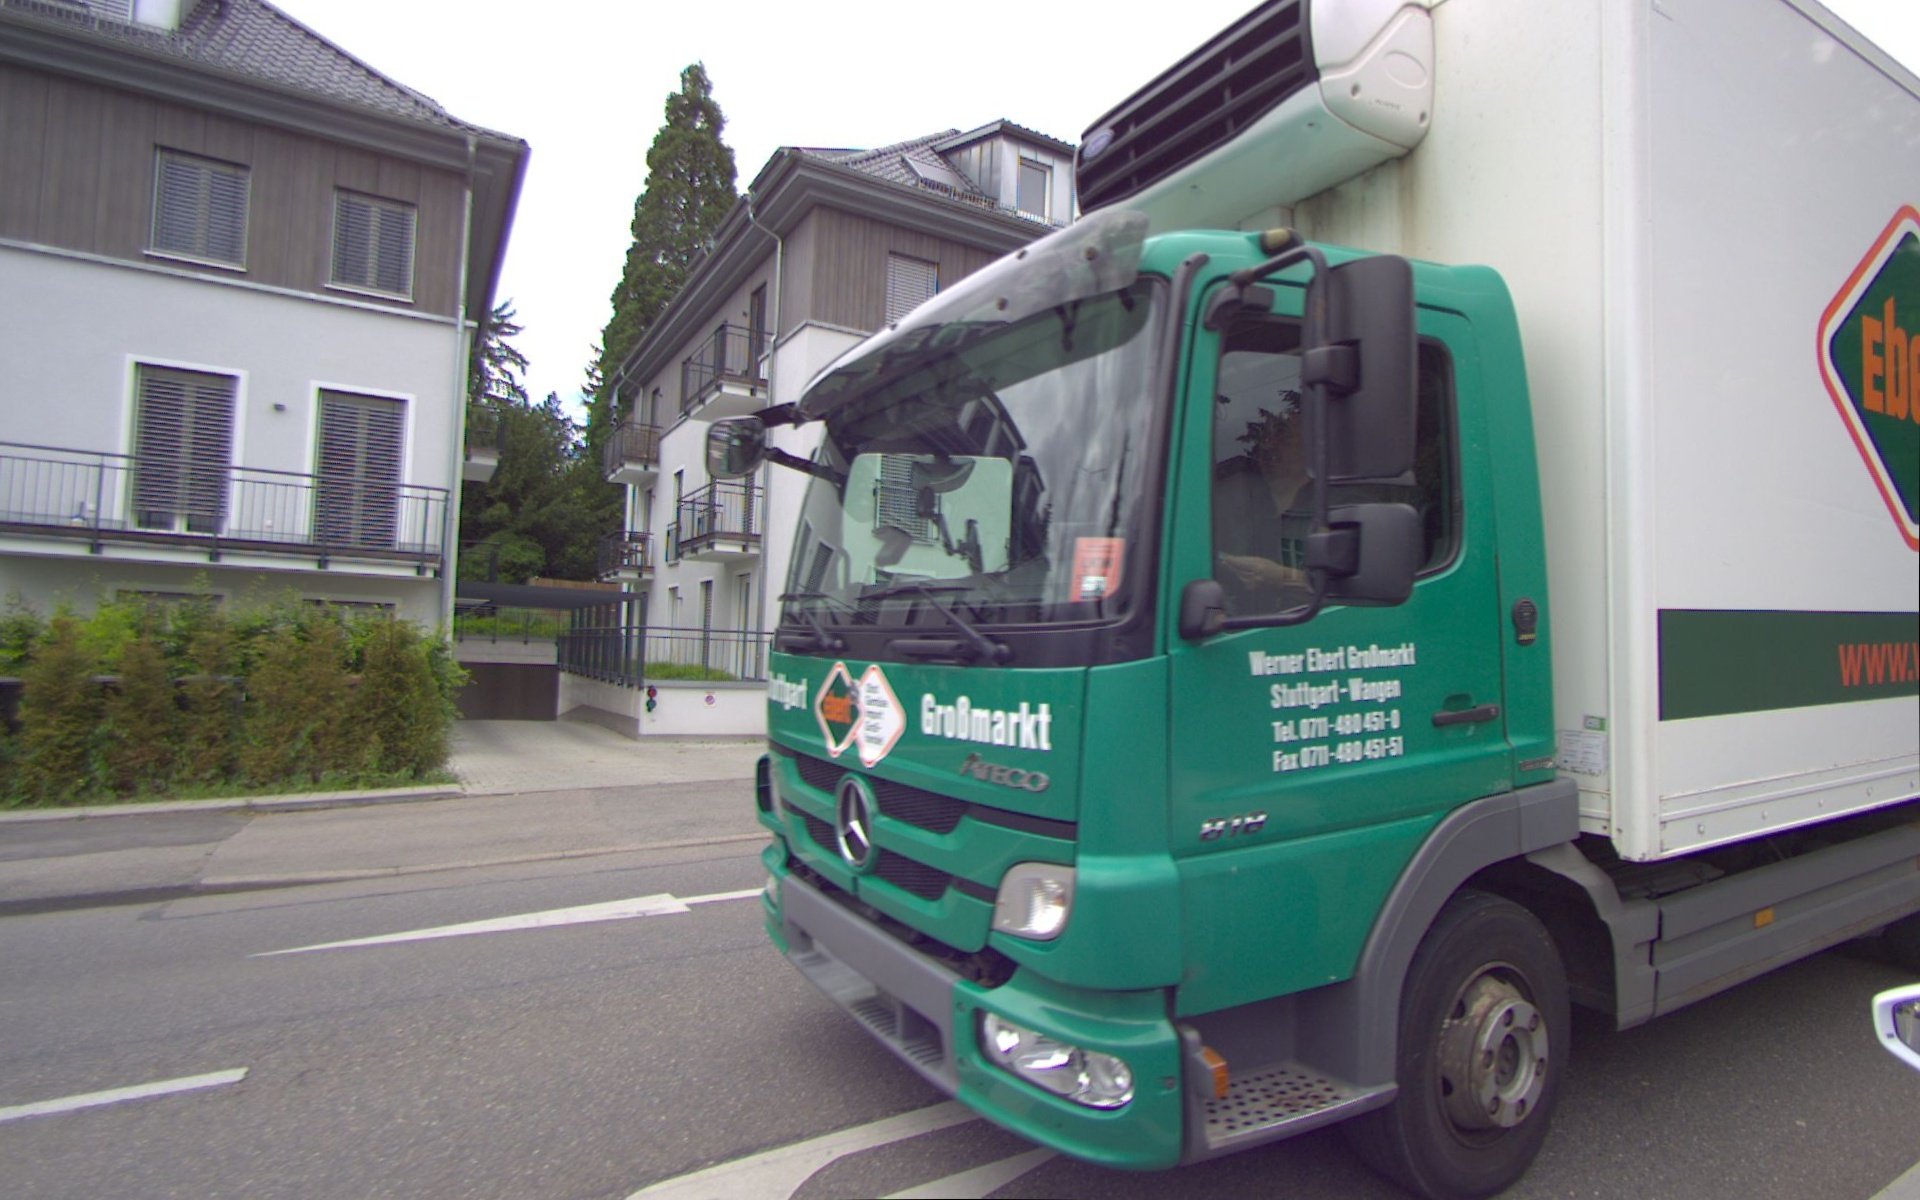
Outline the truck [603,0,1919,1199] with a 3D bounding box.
[{"bbox_3d":[2.538,-0.346,4.647,7.409,3.506,2.764,3,-3,-31],"label":"truck"}]
